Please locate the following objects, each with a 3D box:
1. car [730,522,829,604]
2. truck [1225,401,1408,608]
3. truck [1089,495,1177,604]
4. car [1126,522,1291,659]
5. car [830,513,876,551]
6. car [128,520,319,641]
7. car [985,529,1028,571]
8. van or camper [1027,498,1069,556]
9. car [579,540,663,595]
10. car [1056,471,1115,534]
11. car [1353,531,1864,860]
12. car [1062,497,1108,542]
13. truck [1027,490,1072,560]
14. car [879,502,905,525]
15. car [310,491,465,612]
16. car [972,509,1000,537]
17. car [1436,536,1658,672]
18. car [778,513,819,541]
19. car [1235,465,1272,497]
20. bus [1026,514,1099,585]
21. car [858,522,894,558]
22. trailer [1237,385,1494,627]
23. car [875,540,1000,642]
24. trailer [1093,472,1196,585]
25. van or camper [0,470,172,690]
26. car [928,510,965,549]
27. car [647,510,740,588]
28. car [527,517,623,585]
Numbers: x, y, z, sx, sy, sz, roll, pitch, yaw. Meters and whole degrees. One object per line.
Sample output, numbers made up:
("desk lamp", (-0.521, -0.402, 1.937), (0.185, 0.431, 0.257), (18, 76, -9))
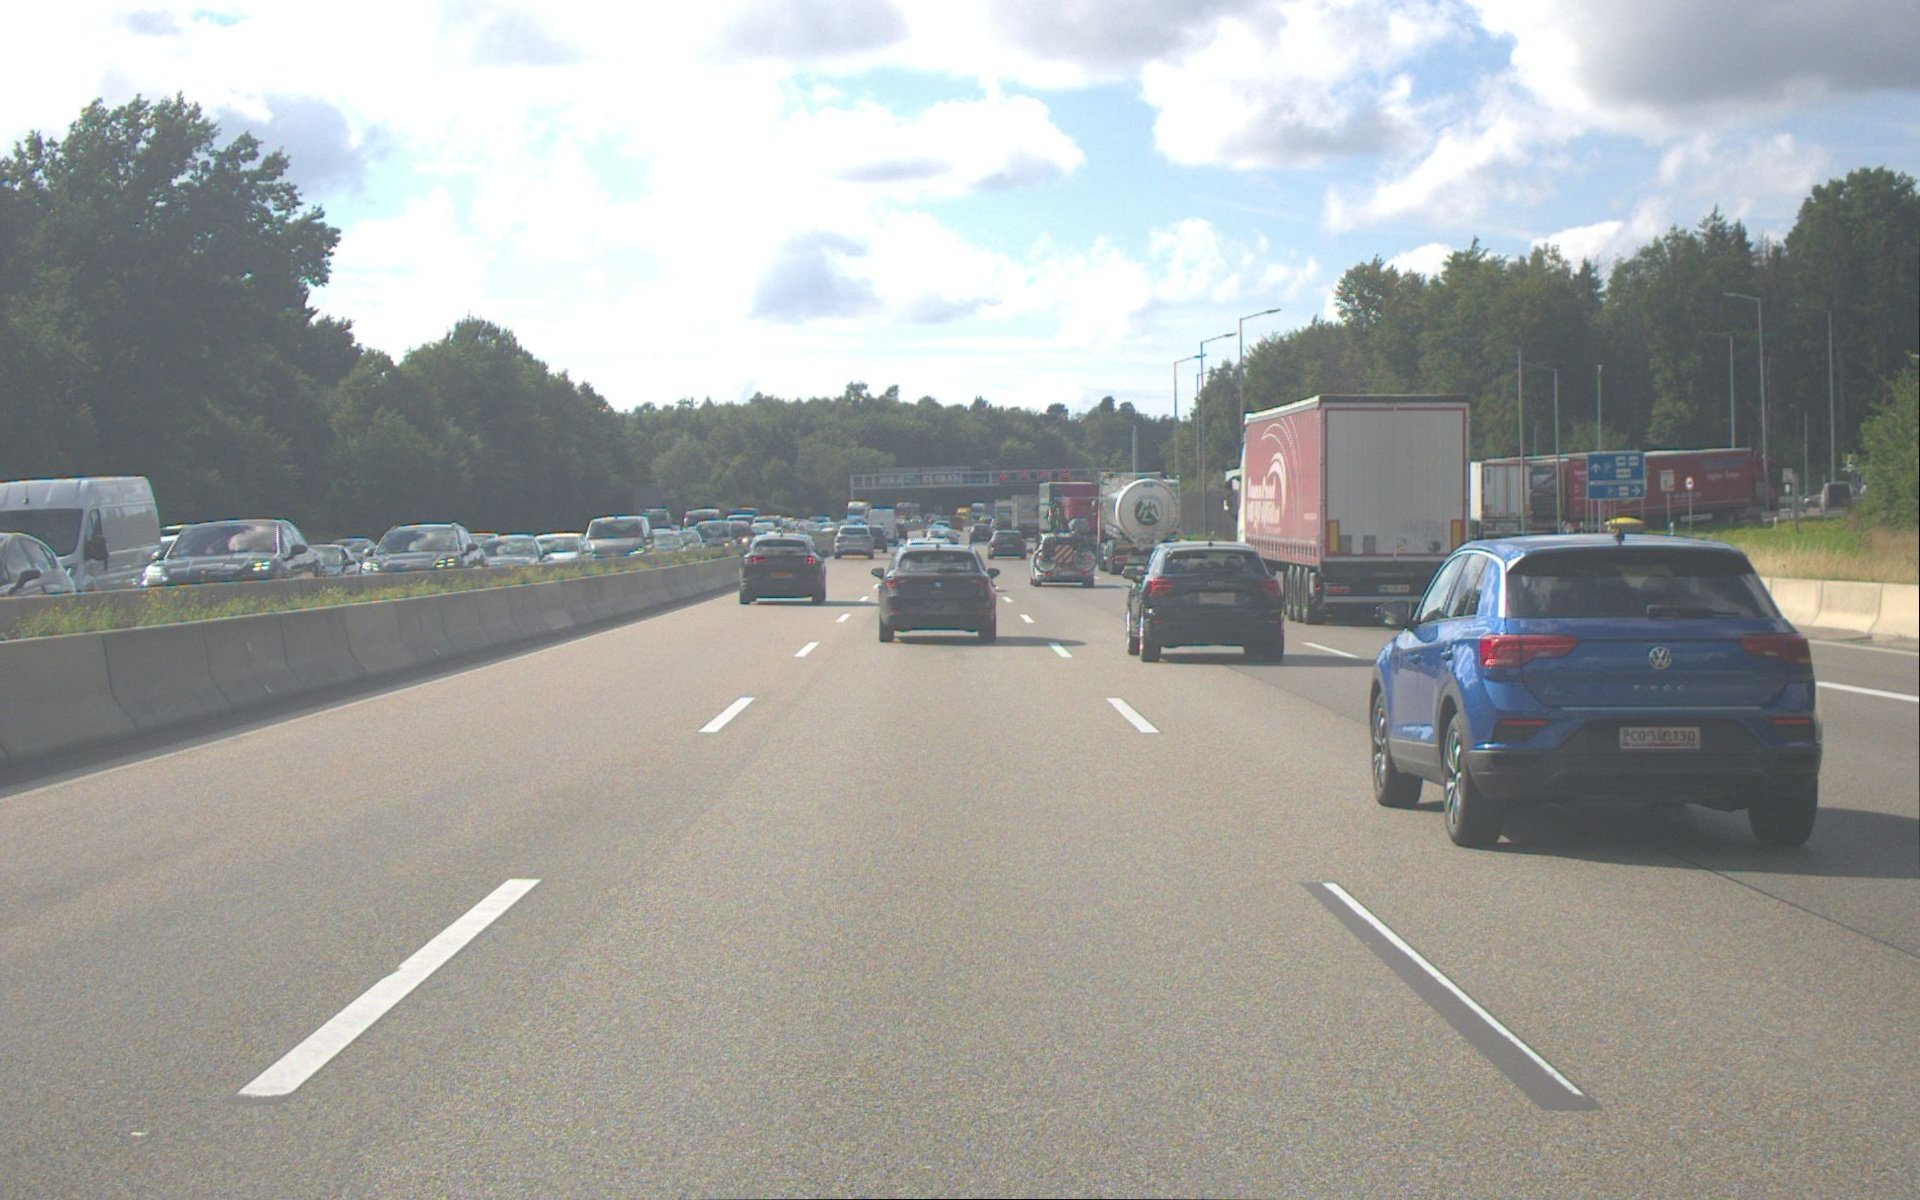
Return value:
("car", (-4.089, -0.854, 78.363), (1.993, 1.770, 4.000), (1, 1, 0))
("truck", (7.304, -1.884, 71.188), (3.080, 4.049, 6.070), (1, 0, 0))
("truck", (6.745, -1.964, 134.778), (3.045, 4.146, 7.127), (0, 0, 0))
("car", (3.130, -0.135, 43.921), (1.799, 1.639, 4.000), (1, 0, 0))
("car", (-5.278, -3.363, 170.043), (2.154, 1.770, 4.000), (1, 0, 0))
("car", (-10.315, -0.300, 48.403), (1.836, 1.585, 4.289), (1, 1, -1))
("car", (2.272, -2.438, 169.857), (1.993, 2.007, 4.000), (1, 0, 0))
("van or camper", (5.058, -4.182, 197.968), (2.351, 3.133, 5.710), (1, 0, 1))
("car", (-10.259, -1.004, 104.291), (1.993, 1.567, 4.815), (0, 1, 1))
("car", (6.322, -4.898, 173.863), (2.866, 2.981, 5.149), (1, 0, 1))
("car", (3.296, 0.420, 18.392), (1.924, 1.536, 4.645), (0, 1, 1))
("car", (5.964, -3.839, 164.174), (1.993, 2.007, 4.000), (1, 0, 0))
("truck", (4.952, -4.128, 191.251), (2.358, 3.560, 11.266), (1, 0, 1))
("car", (-4.728, -6.018, 239.078), (1.623, 1.465, 3.815), (1, 1, 0))
("car", (-10.002, -0.856, 60.375), (1.882, 2.007, 4.519), (1, 1, 1))
("car", (1.940, -5.790, 257.769), (1.993, 2.007, 4.000), (1, 1, 0))
("car", (6.910, 0.031, 40.887), (1.715, 1.506, 4.302), (-1, 0, -3))
("car", (-9.493, -4.327, 202.386), (1.993, 1.567, 5.329), (2, 1, 1))
("car", (19.175, -7.758, 224.891), (1.993, 2.007, 4.000), (-1, 1, 0))
("bus", (3.004, -1.474, 101.321), (1.993, 2.007, 4.000), (1, 0, 0))
("car", (-4.841, -3.479, 199.007), (1.993, 2.007, 4.000), (1, 1, 0))
("trailer", (7.344, -1.541, 64.486), (3.038, 4.021, 13.890), (1, 0, 0))
("car", (-0.379, -0.165, 51.758), (1.734, 1.360, 4.001), (1, 2, -2))
("trailer", (6.790, -2.563, 128.277), (3.036, 4.002, 12.246), (0, 0, -1))
("van or camper", (-13.896, -0.361, 53.014), (2.138, 3.161, 6.245), (1, 1, -1))
("car", (-0.733, -3.878, 188.549), (1.993, 2.007, 4.000), (-1, 0, 0))
("car", (-6.830, -1.343, 88.459), (1.993, 1.914, 4.000), (1, 2, 1))
("car", (-10.236, -1.313, 91.653), (1.993, 1.729, 5.091), (1, 1, -1))
